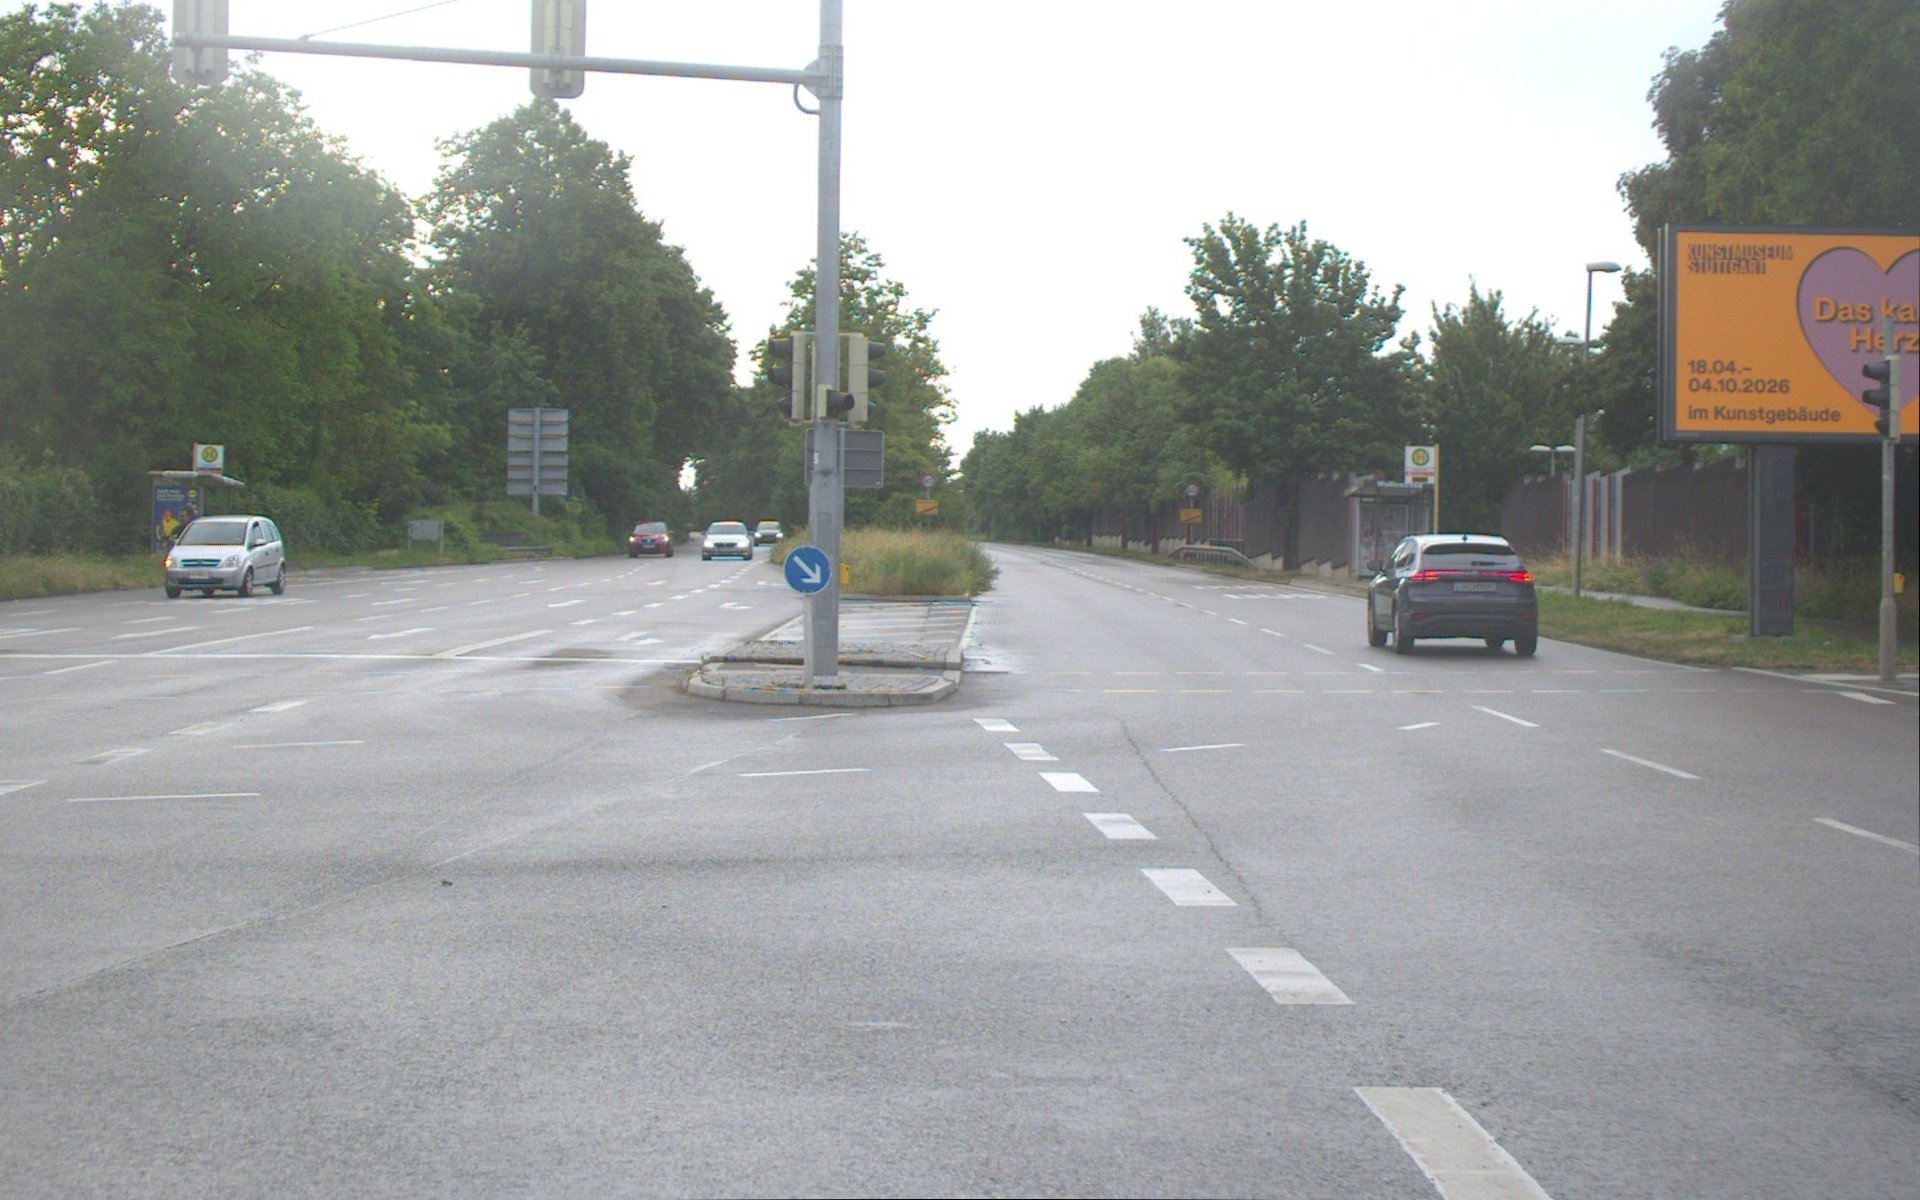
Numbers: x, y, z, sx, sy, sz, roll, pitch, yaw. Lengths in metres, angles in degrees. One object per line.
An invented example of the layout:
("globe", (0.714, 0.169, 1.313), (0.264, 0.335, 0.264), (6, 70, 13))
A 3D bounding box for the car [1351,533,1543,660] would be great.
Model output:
("car", (6.054, -0.074, 43.158), (1.745, 1.465, 4.166), (2, 1, -1))

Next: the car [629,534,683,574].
("car", (-12.872, -1.956, 145.558), (1.893, 1.590, 4.489), (2, 1, -1))

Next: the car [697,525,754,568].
("car", (-8.868, -2.018, 130.250), (1.893, 1.529, 4.489), (2, 1, -1))

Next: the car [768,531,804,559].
("car", (-10.401, -3.290, 205.595), (1.893, 1.590, 4.489), (2, 1, -1))

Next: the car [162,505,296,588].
("car", (-14.811, -1.088, 69.832), (1.768, 1.590, 4.489), (2, 1, -1))
